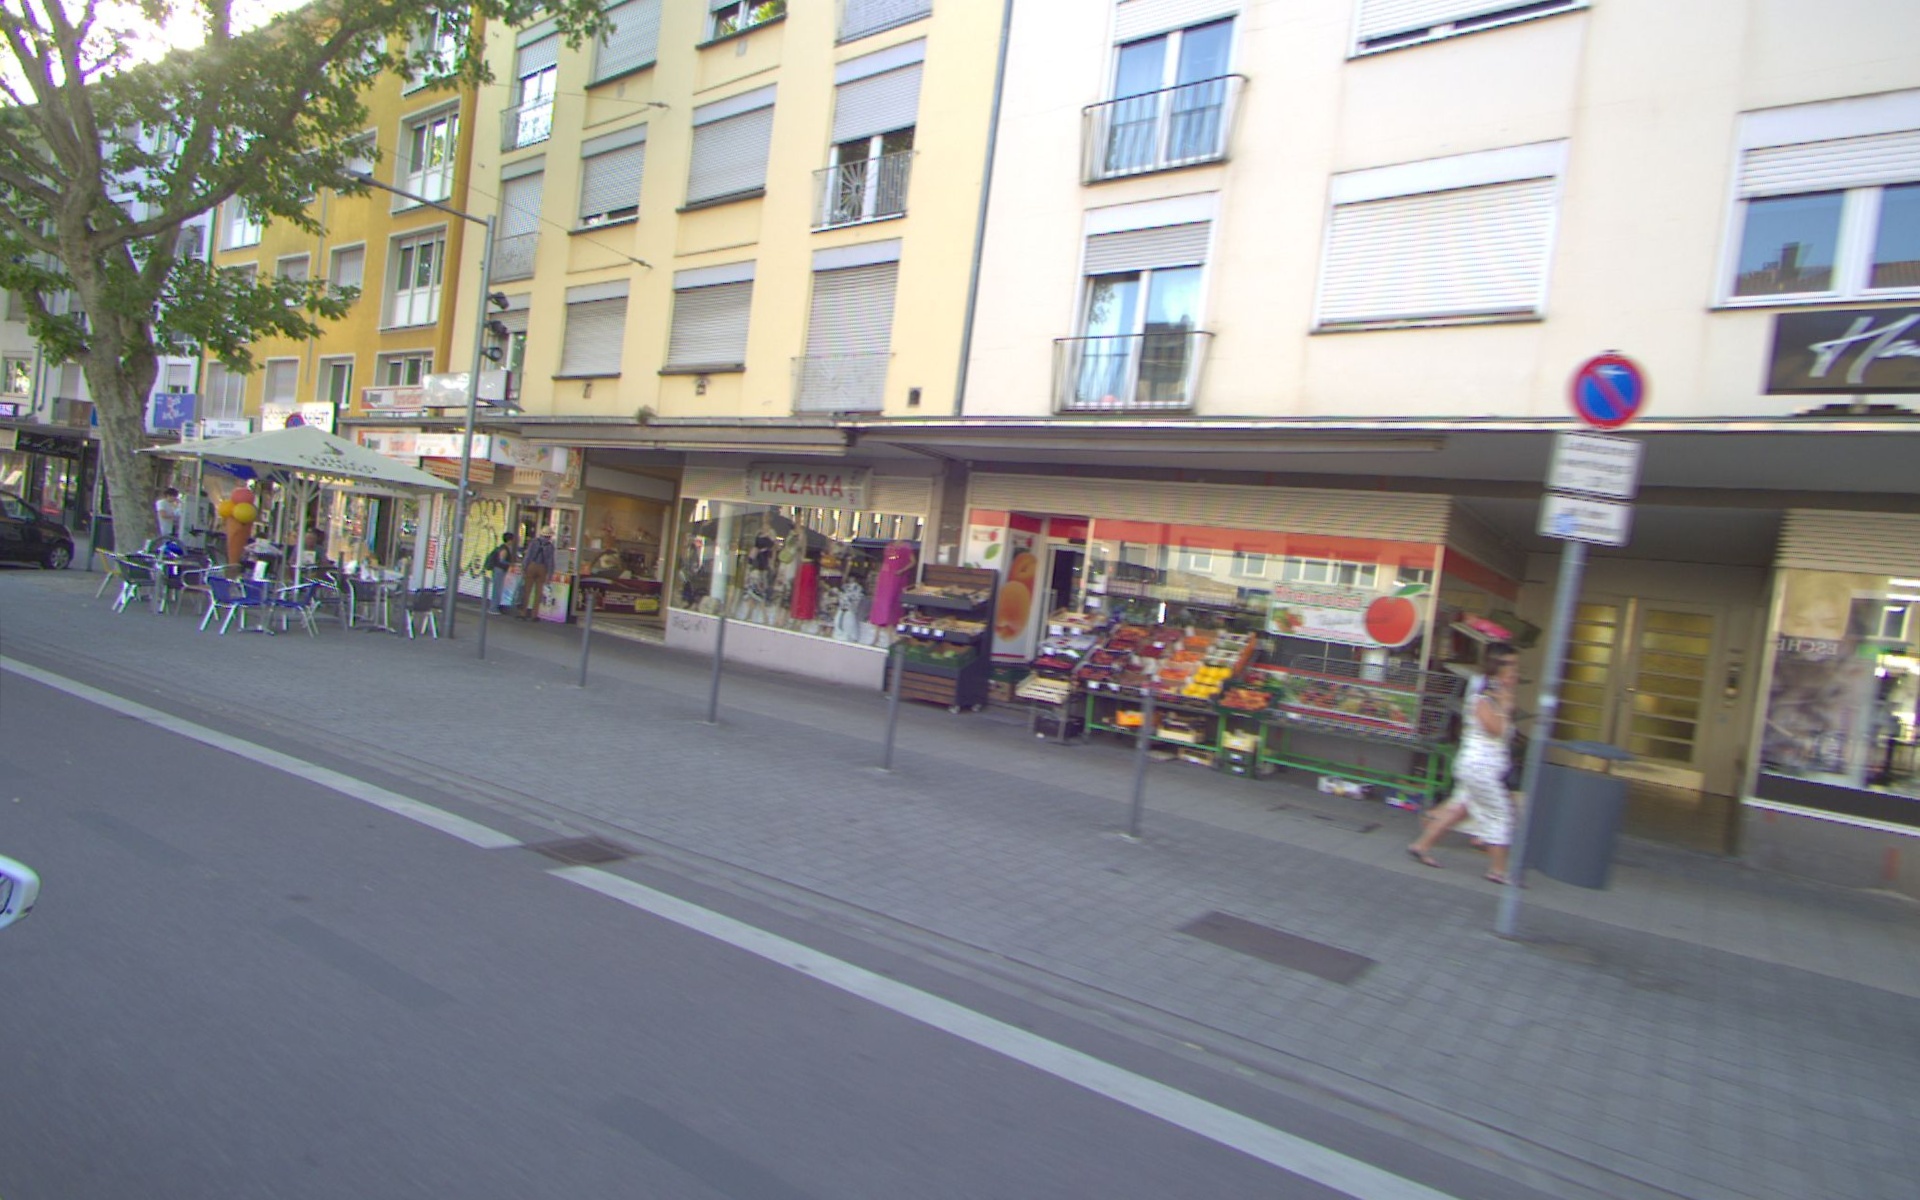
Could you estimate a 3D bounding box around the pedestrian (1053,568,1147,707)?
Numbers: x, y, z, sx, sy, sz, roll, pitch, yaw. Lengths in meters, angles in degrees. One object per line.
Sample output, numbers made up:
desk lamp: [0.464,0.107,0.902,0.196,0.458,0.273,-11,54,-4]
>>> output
pedestrian: [1.922,0.518,13.823,0.866,1.764,0.684,7,0,34]

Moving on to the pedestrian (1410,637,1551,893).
pedestrian: [3.602,1.095,6.960,0.617,1.608,0.634,8,4,36]

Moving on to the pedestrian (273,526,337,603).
pedestrian: [-11.607,-0.622,17.829,0.732,1.240,0.606,7,1,30]

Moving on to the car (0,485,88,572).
car: [-18.331,-1.408,18.527,1.712,1.560,3.600,6,0,-10]

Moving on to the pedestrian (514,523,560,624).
pedestrian: [-8.015,-0.502,19.055,0.629,1.827,0.623,6,2,-24]

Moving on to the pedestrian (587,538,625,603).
pedestrian: [-7.552,-0.631,21.461,0.500,1.313,0.426,7,2,34]

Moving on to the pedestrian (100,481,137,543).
pedestrian: [-27.494,-2.879,32.866,0.811,1.900,0.642,8,2,35]

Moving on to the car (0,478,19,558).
car: [-21.154,-1.817,19.789,1.779,1.702,4.142,6,0,-10]

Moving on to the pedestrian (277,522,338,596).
pedestrian: [-12.549,-0.793,19.344,0.746,1.290,0.584,7,0,30]

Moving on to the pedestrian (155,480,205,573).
pedestrian: [-16.347,-1.527,21.082,0.466,1.856,0.517,7,1,8]

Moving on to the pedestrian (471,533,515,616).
pedestrian: [-9.276,-0.503,19.990,0.619,1.566,0.632,6,2,-29]

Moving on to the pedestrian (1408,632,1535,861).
pedestrian: [3.930,1.083,7.722,0.617,1.608,0.621,8,4,36]

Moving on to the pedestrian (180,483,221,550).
pedestrian: [-21.779,-2.380,28.836,0.775,1.816,0.705,8,5,36]

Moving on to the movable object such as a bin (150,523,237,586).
movable object such as a bin: [-14.759,-0.870,19.401,0.824,1.035,0.930,8,-1,9]

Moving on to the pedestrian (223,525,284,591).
pedestrian: [-13.480,-0.801,19.196,0.738,1.128,0.584,7,0,30]
